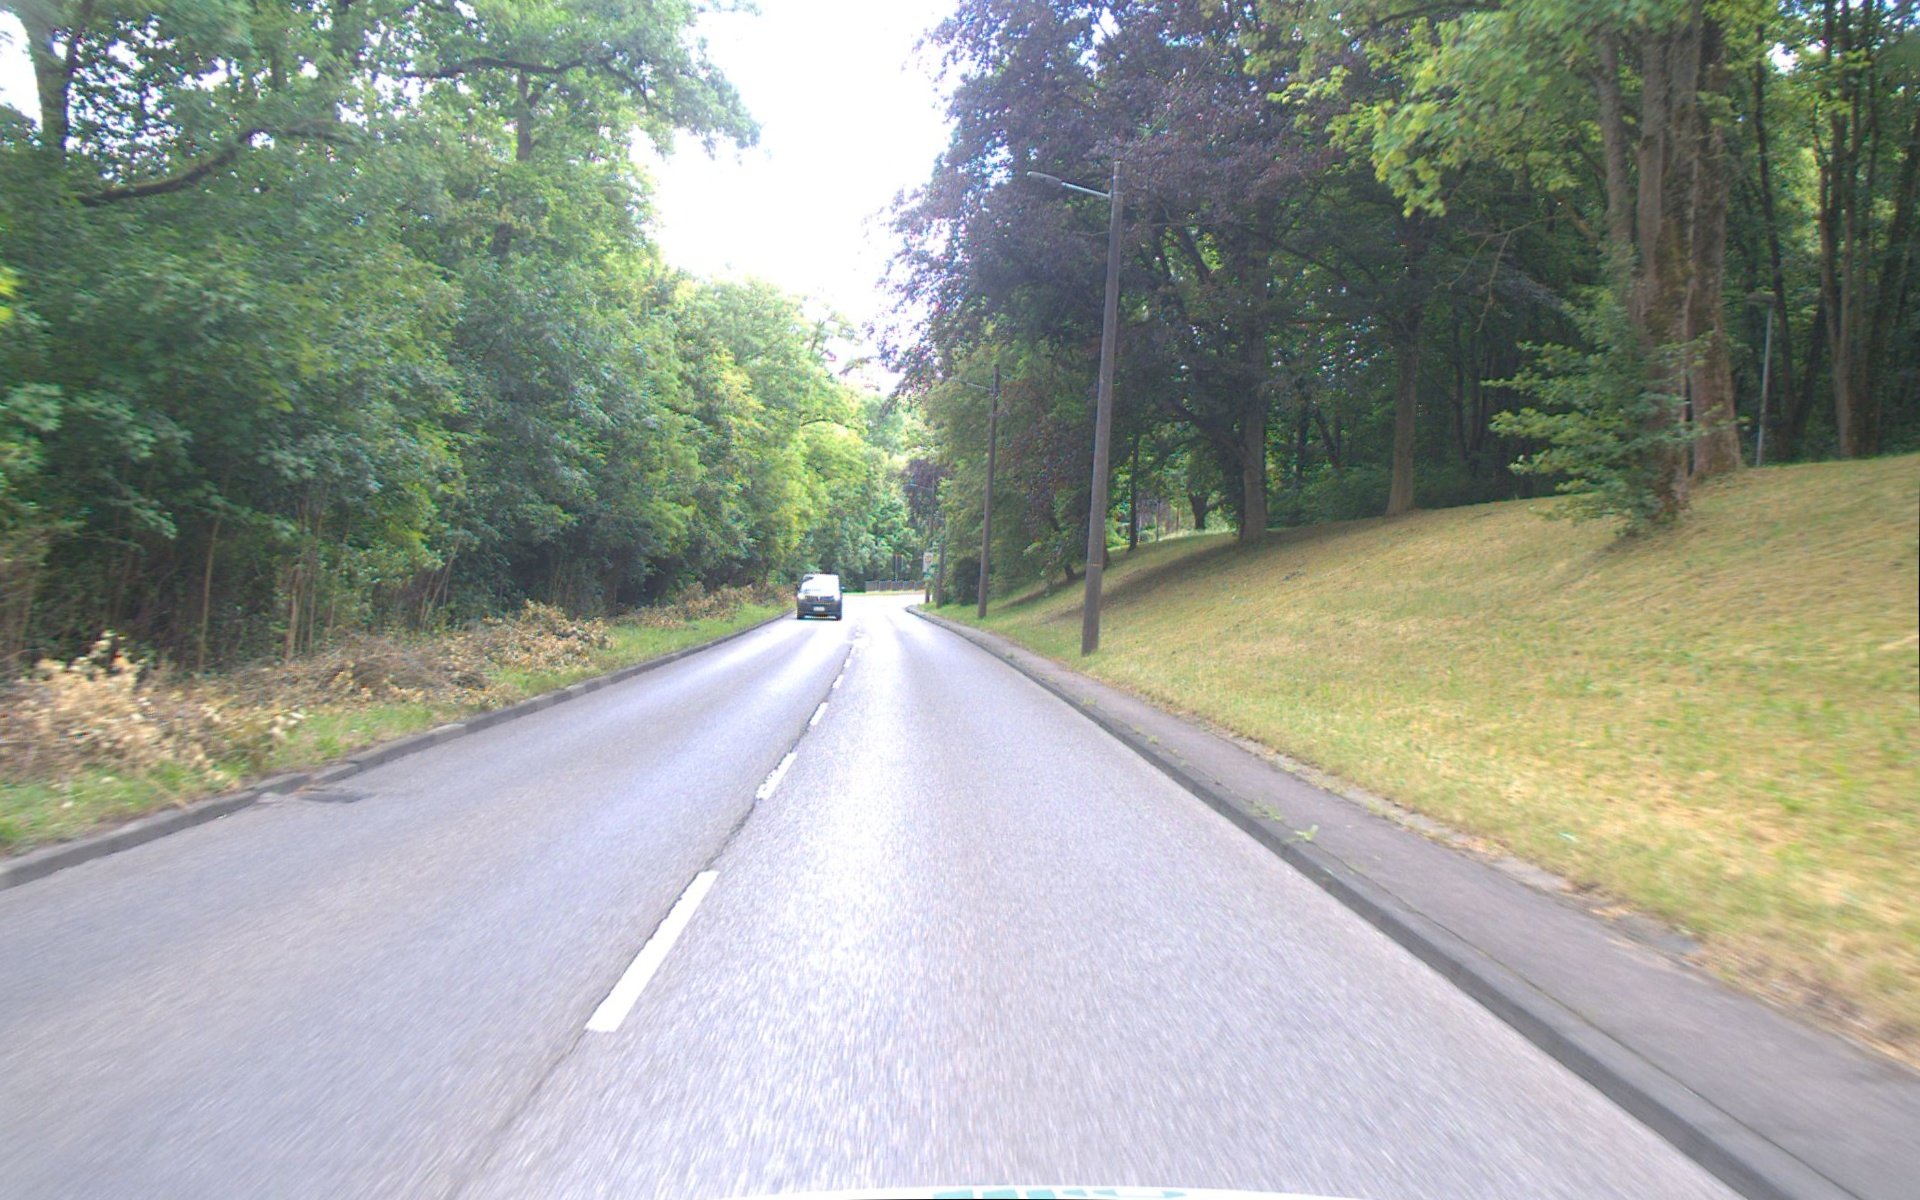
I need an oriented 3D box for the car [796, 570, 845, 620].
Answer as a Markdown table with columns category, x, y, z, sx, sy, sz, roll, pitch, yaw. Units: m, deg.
| category | x | y | z | sx | sy | sz | roll | pitch | yaw |
| --- | --- | --- | --- | --- | --- | --- | --- | --- | --- |
| car | -5.917 | -0.198 | 70.698 | 1.954 | 1.982 | 4.941 | 2 | 0 | -4 |
